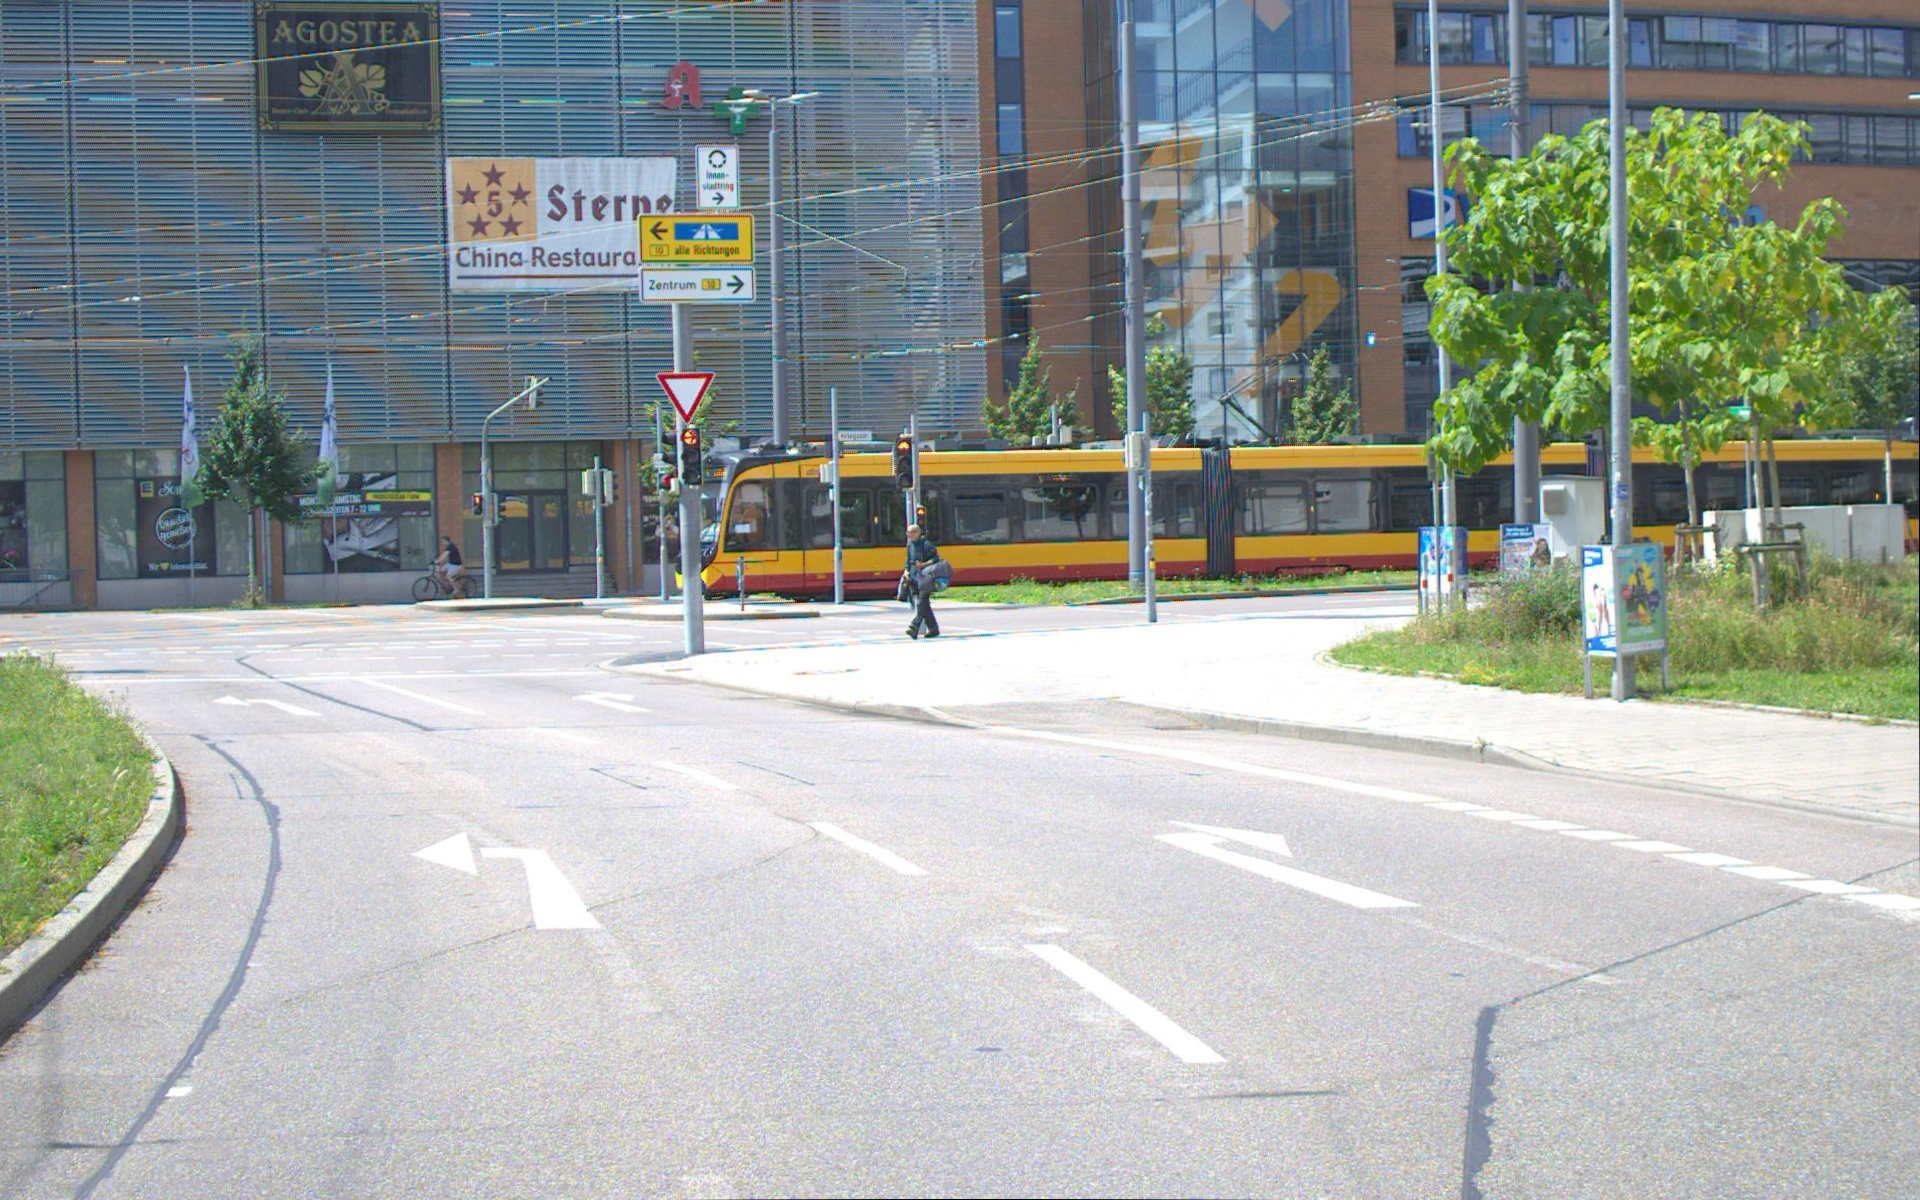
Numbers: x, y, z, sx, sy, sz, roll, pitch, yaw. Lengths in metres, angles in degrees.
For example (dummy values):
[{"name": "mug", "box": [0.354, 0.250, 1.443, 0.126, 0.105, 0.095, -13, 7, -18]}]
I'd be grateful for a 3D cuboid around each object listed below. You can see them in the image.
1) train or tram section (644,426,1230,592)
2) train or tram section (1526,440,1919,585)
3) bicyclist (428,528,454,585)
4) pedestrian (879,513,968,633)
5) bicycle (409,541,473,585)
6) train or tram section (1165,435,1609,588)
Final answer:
[{"name": "train or tram section", "box": [-0.389, -2.064, 79.061, 13.454, 3.587, 3.227, -1, 1, -27]}, {"name": "train or tram section", "box": [20.846, -2.265, 89.551, 12.592, 3.608, 3.066, -1, 1, -26]}, {"name": "bicyclist", "box": [-14.775, -1.247, 97.847, 0.662, 1.618, 0.551, 0, 1, -14]}, {"name": "pedestrian", "box": [-0.532, -0.391, 49.889, 0.806, 1.696, 0.918, -3, 1, -44]}, {"name": "bicycle", "box": [-14.779, -1.055, 97.857, 1.760, 1.219, 0.584, 0, 1, -14]}, {"name": "train or tram section", "box": [10.548, -2.143, 84.388, 10.955, 3.591, 3.066, -1, 1, -27]}]
